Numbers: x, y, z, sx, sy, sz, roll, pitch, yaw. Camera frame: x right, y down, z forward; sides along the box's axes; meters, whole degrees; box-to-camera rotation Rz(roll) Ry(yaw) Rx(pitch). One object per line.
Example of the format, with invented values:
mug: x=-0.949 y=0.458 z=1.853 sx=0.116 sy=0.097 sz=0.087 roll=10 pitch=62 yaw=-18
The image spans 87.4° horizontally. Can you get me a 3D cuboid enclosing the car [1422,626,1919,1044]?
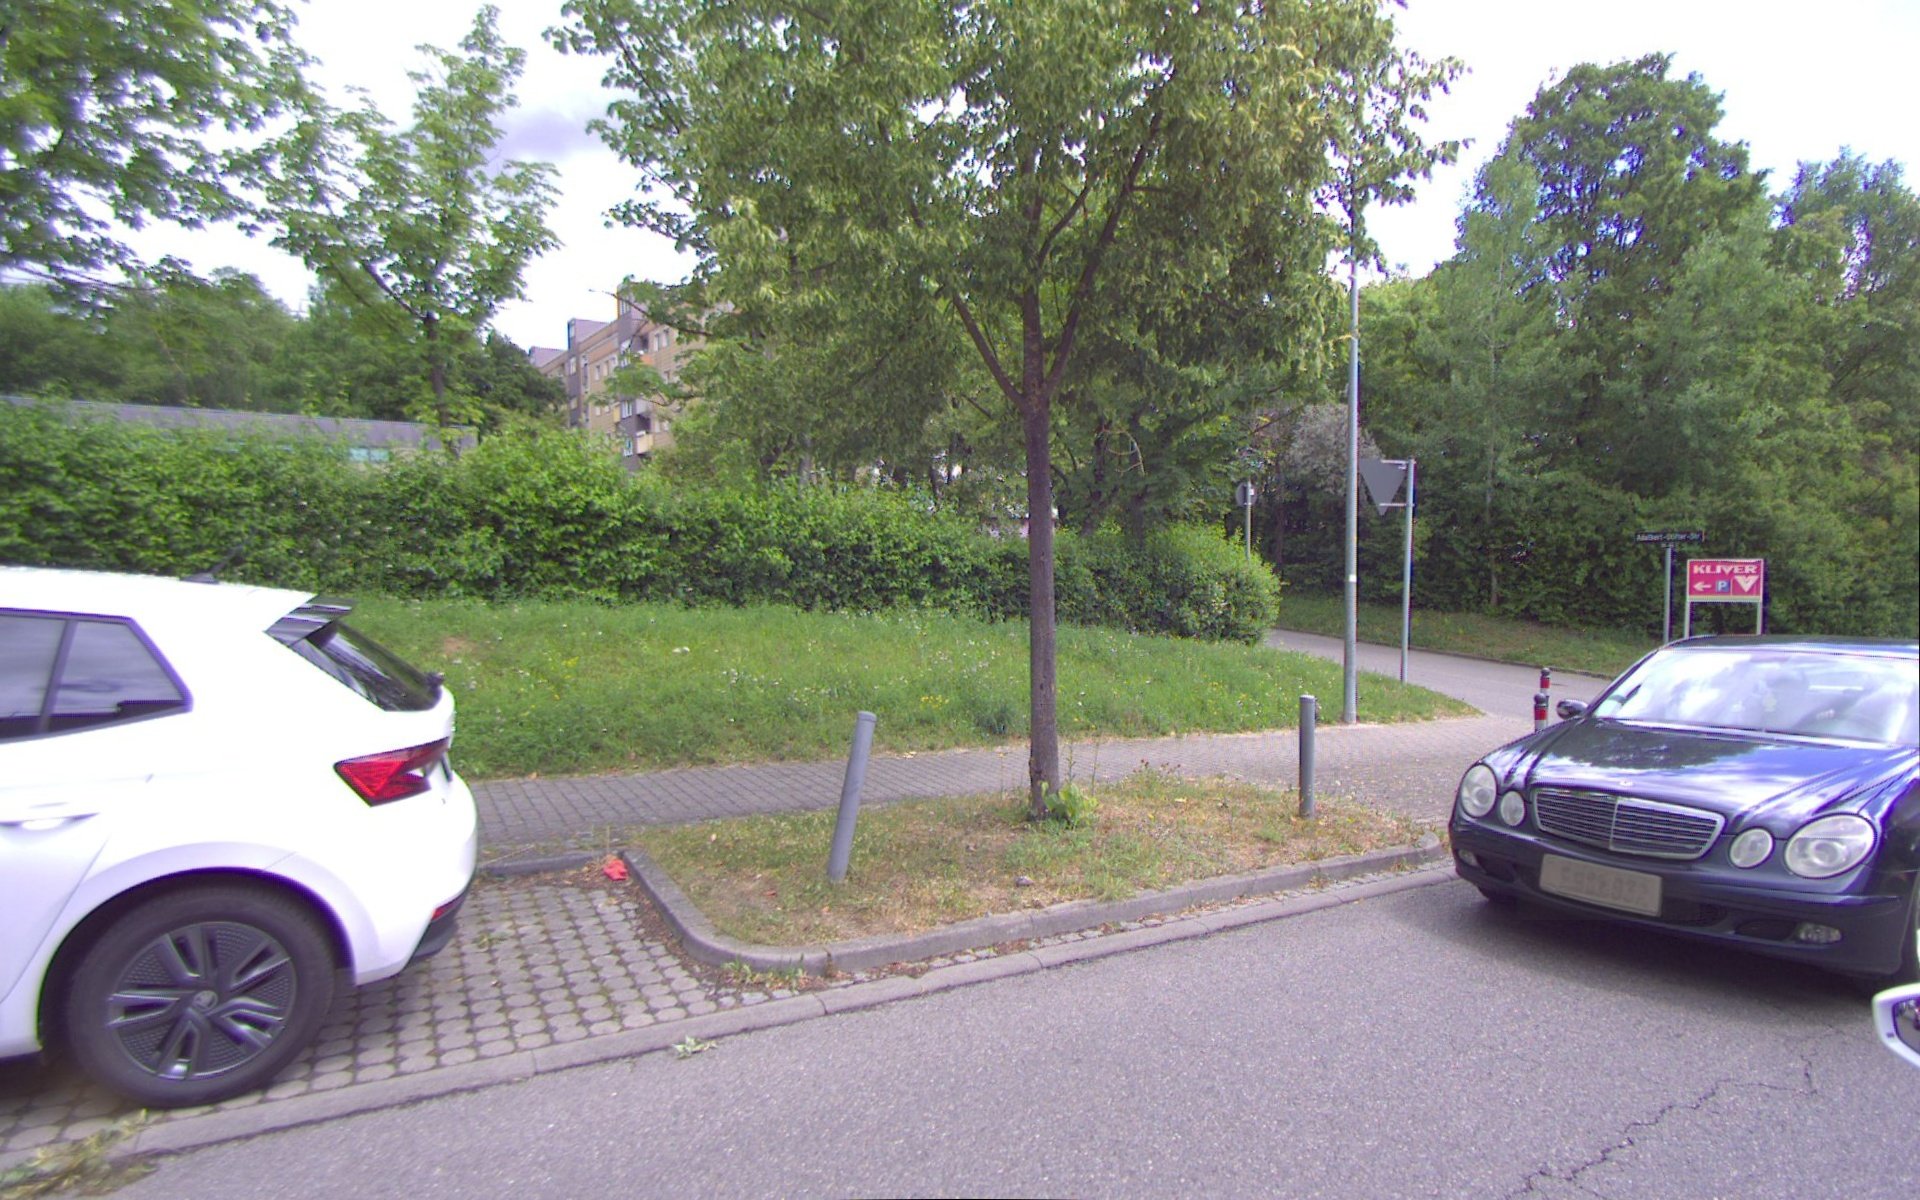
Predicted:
car: x=4.561 y=0.891 z=5.510 sx=4.323 sy=1.438 sz=1.740 roll=1 pitch=-1 yaw=-35

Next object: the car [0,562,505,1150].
car: x=-3.615 y=0.622 z=2.910 sx=4.001 sy=1.424 sz=1.799 roll=2 pitch=3 yaw=-31
